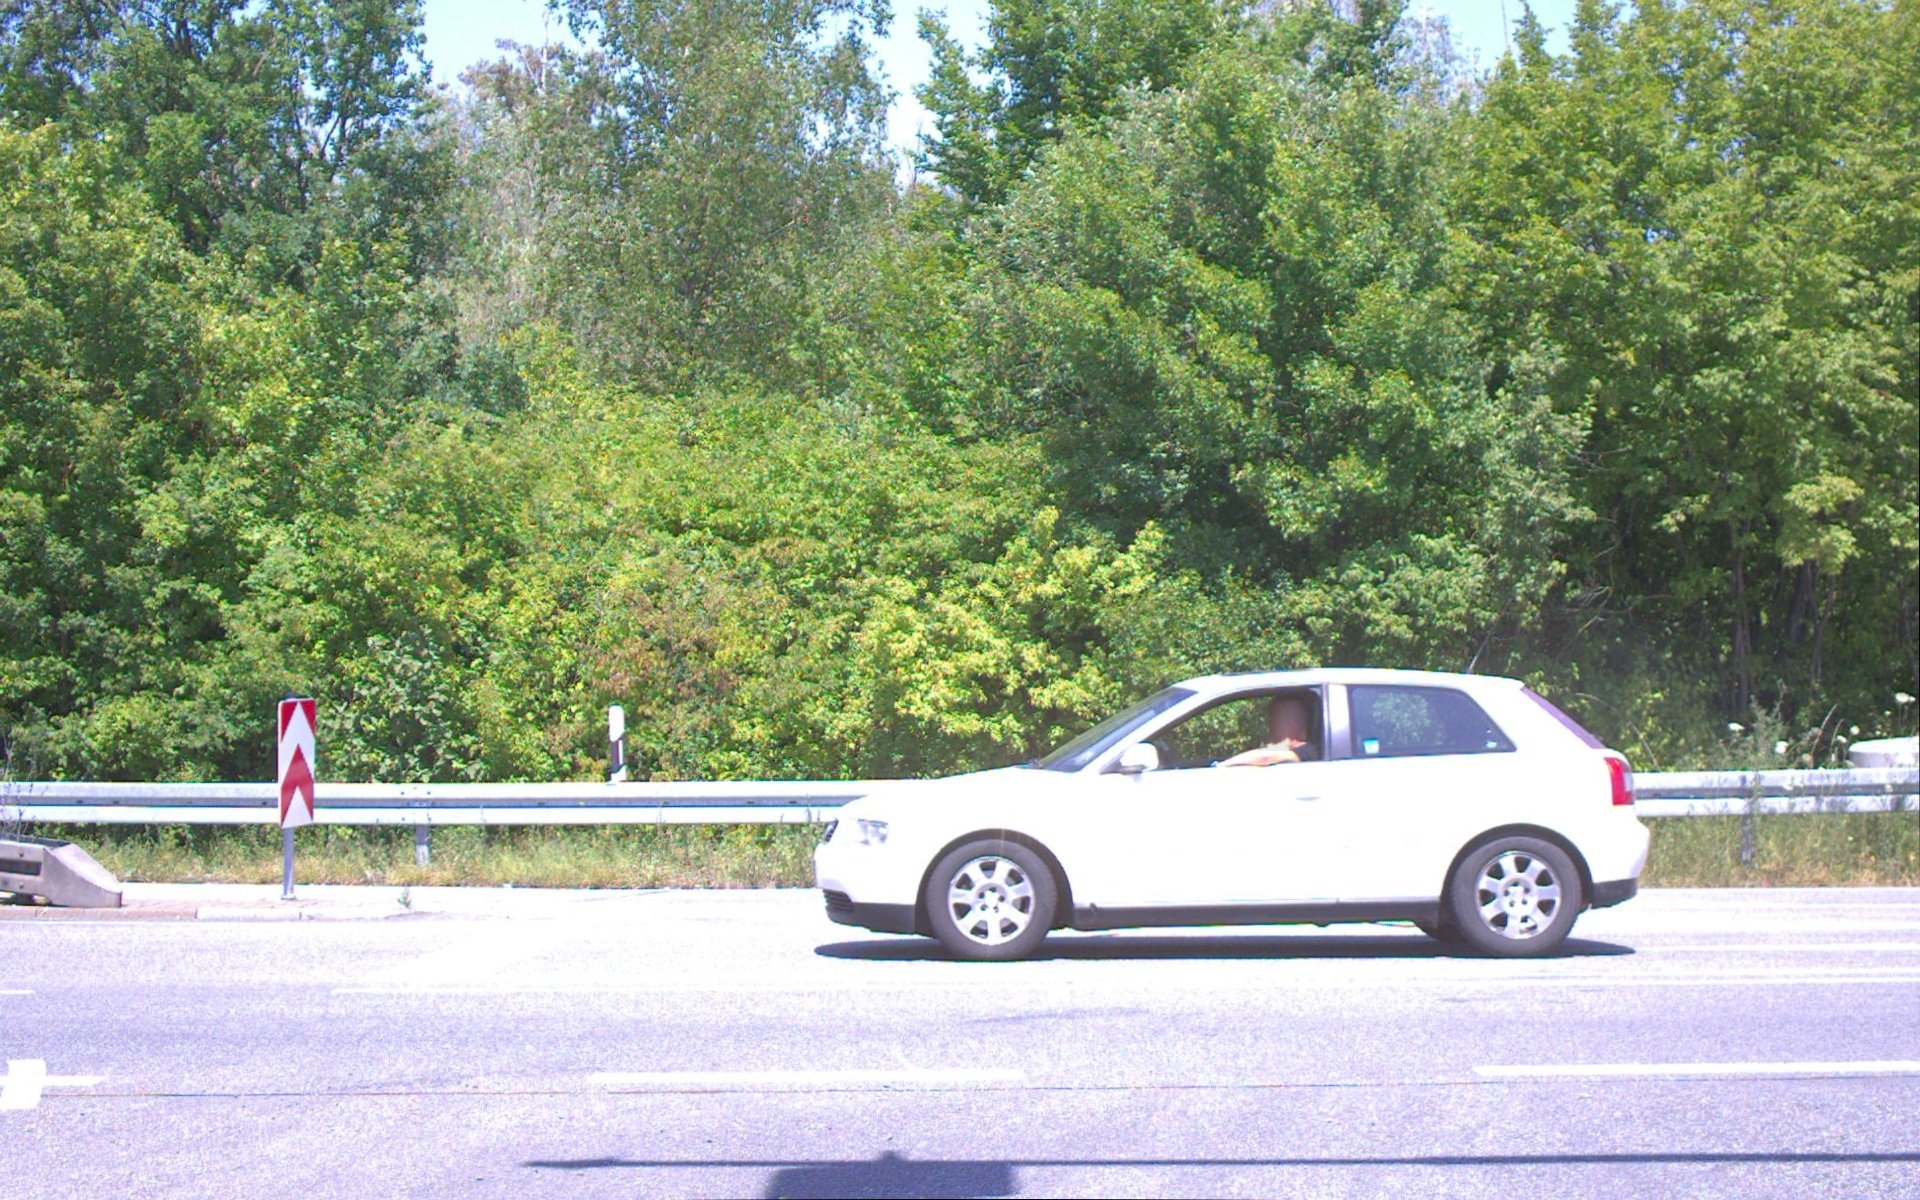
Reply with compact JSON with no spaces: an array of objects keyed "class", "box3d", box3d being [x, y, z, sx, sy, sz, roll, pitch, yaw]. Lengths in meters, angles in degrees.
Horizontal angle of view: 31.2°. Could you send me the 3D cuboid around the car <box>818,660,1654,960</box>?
[{"class":"car","box3d":[1.293,1.039,17.153,3.977,1.391,1.647,1,-3,-2]}]
